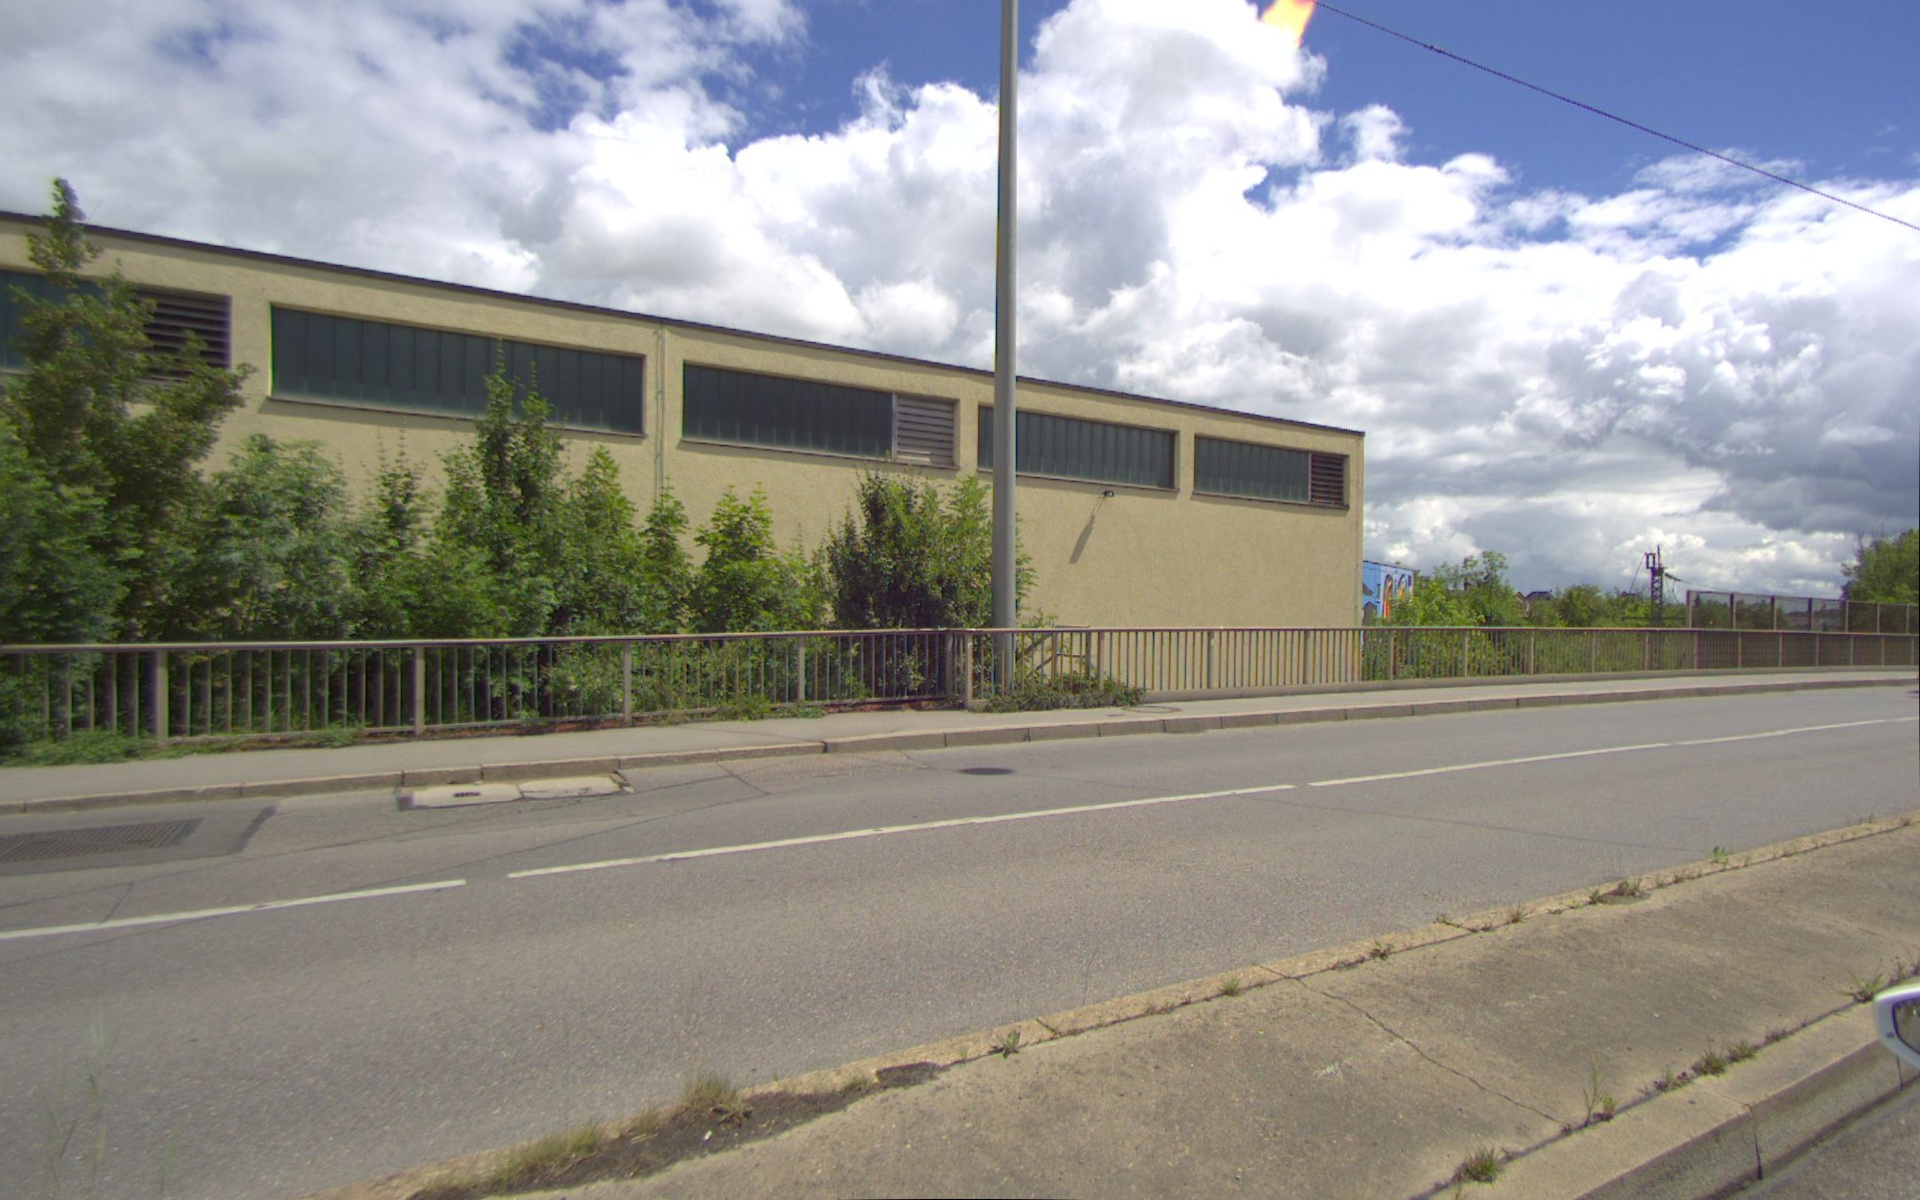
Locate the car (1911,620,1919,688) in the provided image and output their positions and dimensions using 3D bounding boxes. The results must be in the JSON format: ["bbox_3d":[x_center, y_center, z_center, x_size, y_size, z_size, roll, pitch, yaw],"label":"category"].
[{"bbox_3d":[21.413,1.111,20.650,4.145,1.381,1.629,1,-1,-30],"label":"car"}]
